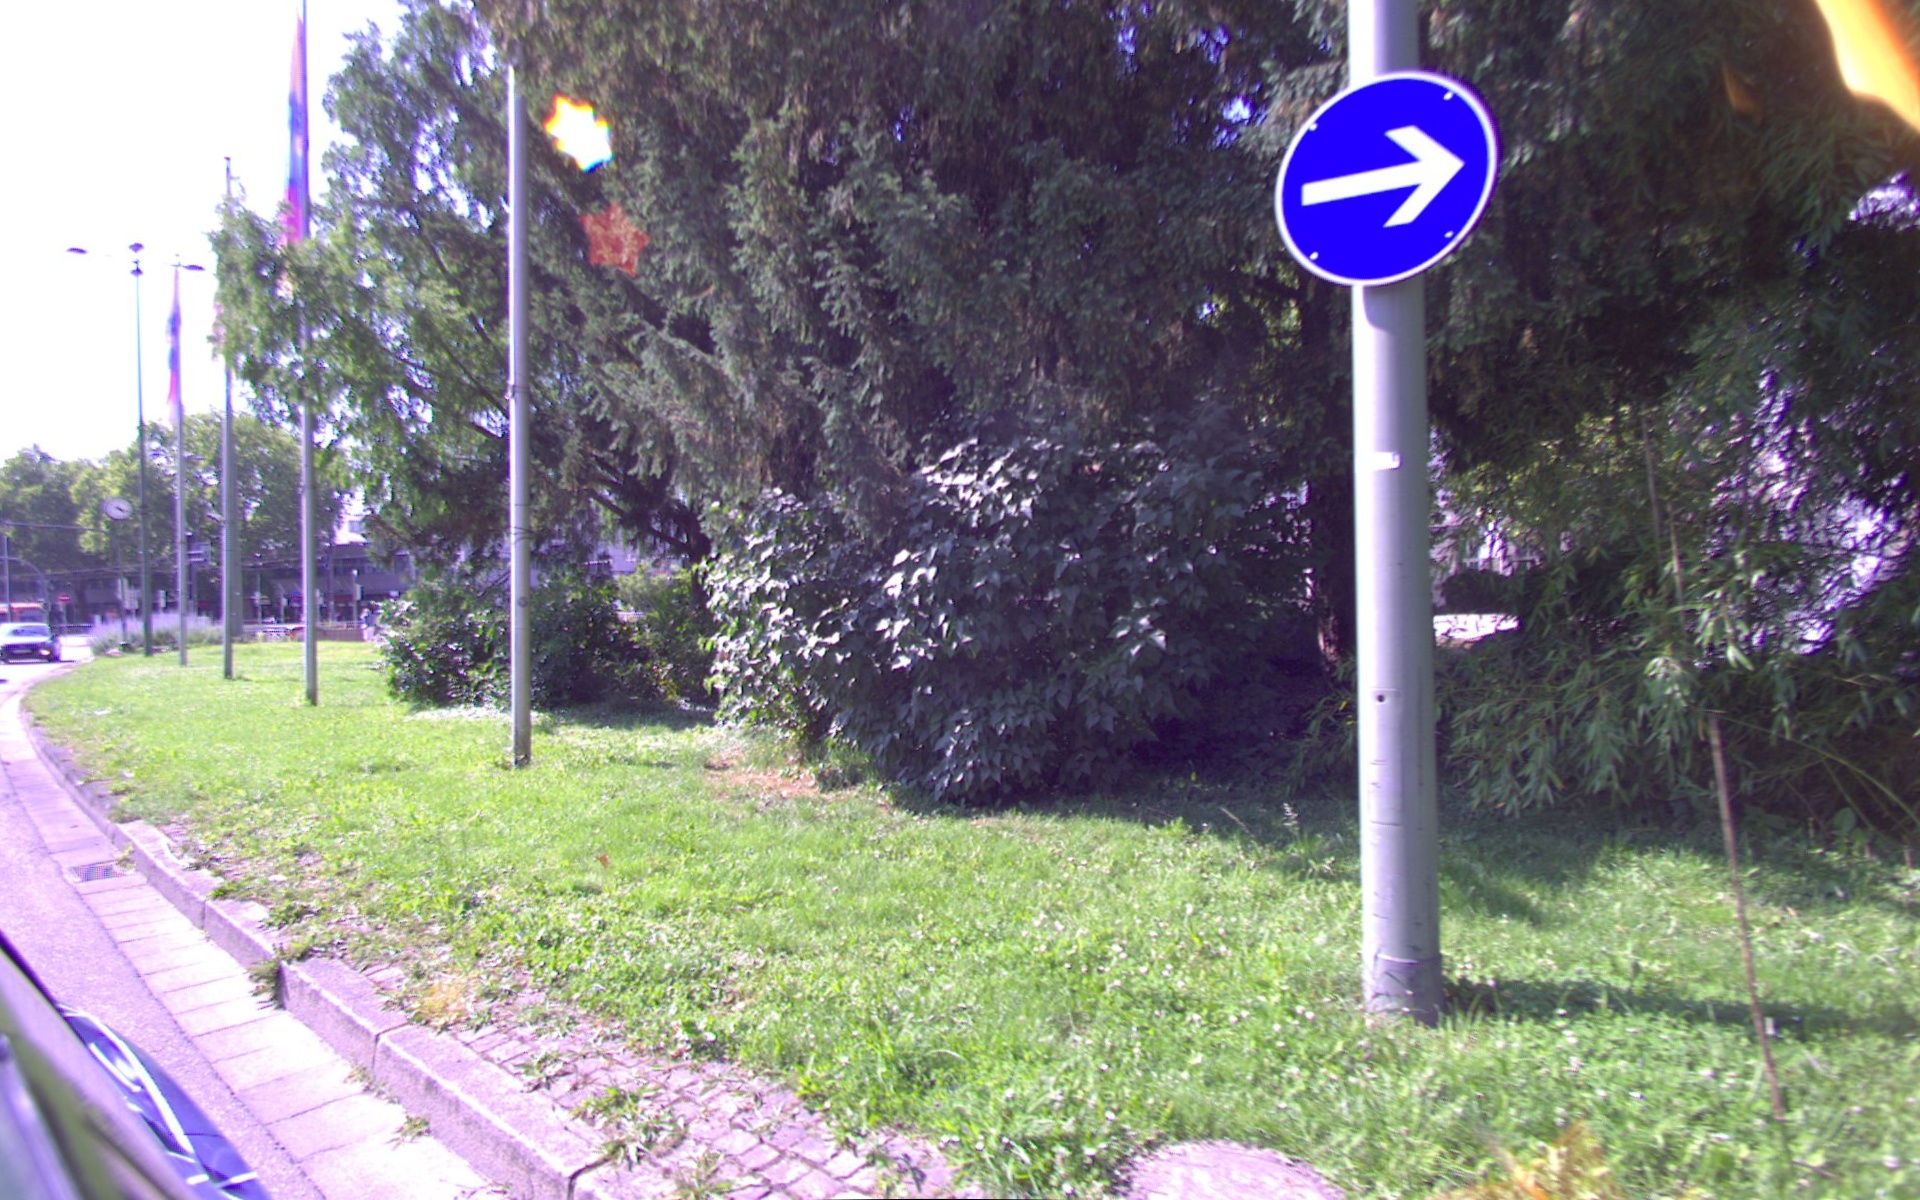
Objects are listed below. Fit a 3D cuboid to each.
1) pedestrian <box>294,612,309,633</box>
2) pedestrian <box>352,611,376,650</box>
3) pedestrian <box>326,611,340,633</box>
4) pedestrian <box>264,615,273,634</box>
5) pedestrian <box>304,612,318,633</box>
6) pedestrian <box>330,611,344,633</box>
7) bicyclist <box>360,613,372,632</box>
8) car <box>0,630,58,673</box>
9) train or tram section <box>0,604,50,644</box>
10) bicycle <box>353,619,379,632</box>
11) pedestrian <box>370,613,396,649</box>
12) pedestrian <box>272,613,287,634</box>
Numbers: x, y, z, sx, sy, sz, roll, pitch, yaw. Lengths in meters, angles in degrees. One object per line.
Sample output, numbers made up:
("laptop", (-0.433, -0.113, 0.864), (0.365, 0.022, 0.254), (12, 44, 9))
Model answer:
("pedestrian", (-56.879, 1.953, 87.414), (0.666, 1.850, 0.818), (-1, 0, 21))
("pedestrian", (-25.618, 1.306, 43.489), (0.598, 1.605, 0.684), (-2, 0, 35))
("pedestrian", (-55.547, 1.947, 89.646), (0.730, 1.850, 0.817), (-1, 0, 22))
("pedestrian", (-60.741, 2.134, 88.949), (0.556, 1.650, 0.602), (-1, 0, -26))
("pedestrian", (-56.707, 1.963, 88.430), (0.666, 1.850, 0.818), (-1, 0, 22))
("pedestrian", (-54.915, 1.941, 89.206), (0.667, 1.850, 0.817), (-1, 0, 22))
("bicyclist", (-53.520, 2.024, 91.185), (0.581, 1.700, 0.678), (-2, 0, 27))
("car", (-34.506, 1.861, 37.344), (1.764, 1.504, 4.094), (0, -1, -41))
("train or tram section", (-83.615, 2.149, 88.308), (8.678, 3.292, 2.715), (-2, 0, 22))
("bicycle", (-53.517, 2.319, 91.184), (0.574, 1.110, 1.952), (-2, 0, 26))
("pedestrian", (-25.100, 1.338, 44.044), (0.474, 1.522, 0.841), (-2, 0, 35))
("pedestrian", (-58.801, 2.005, 87.482), (0.667, 1.820, 0.817), (-1, 0, 23))
